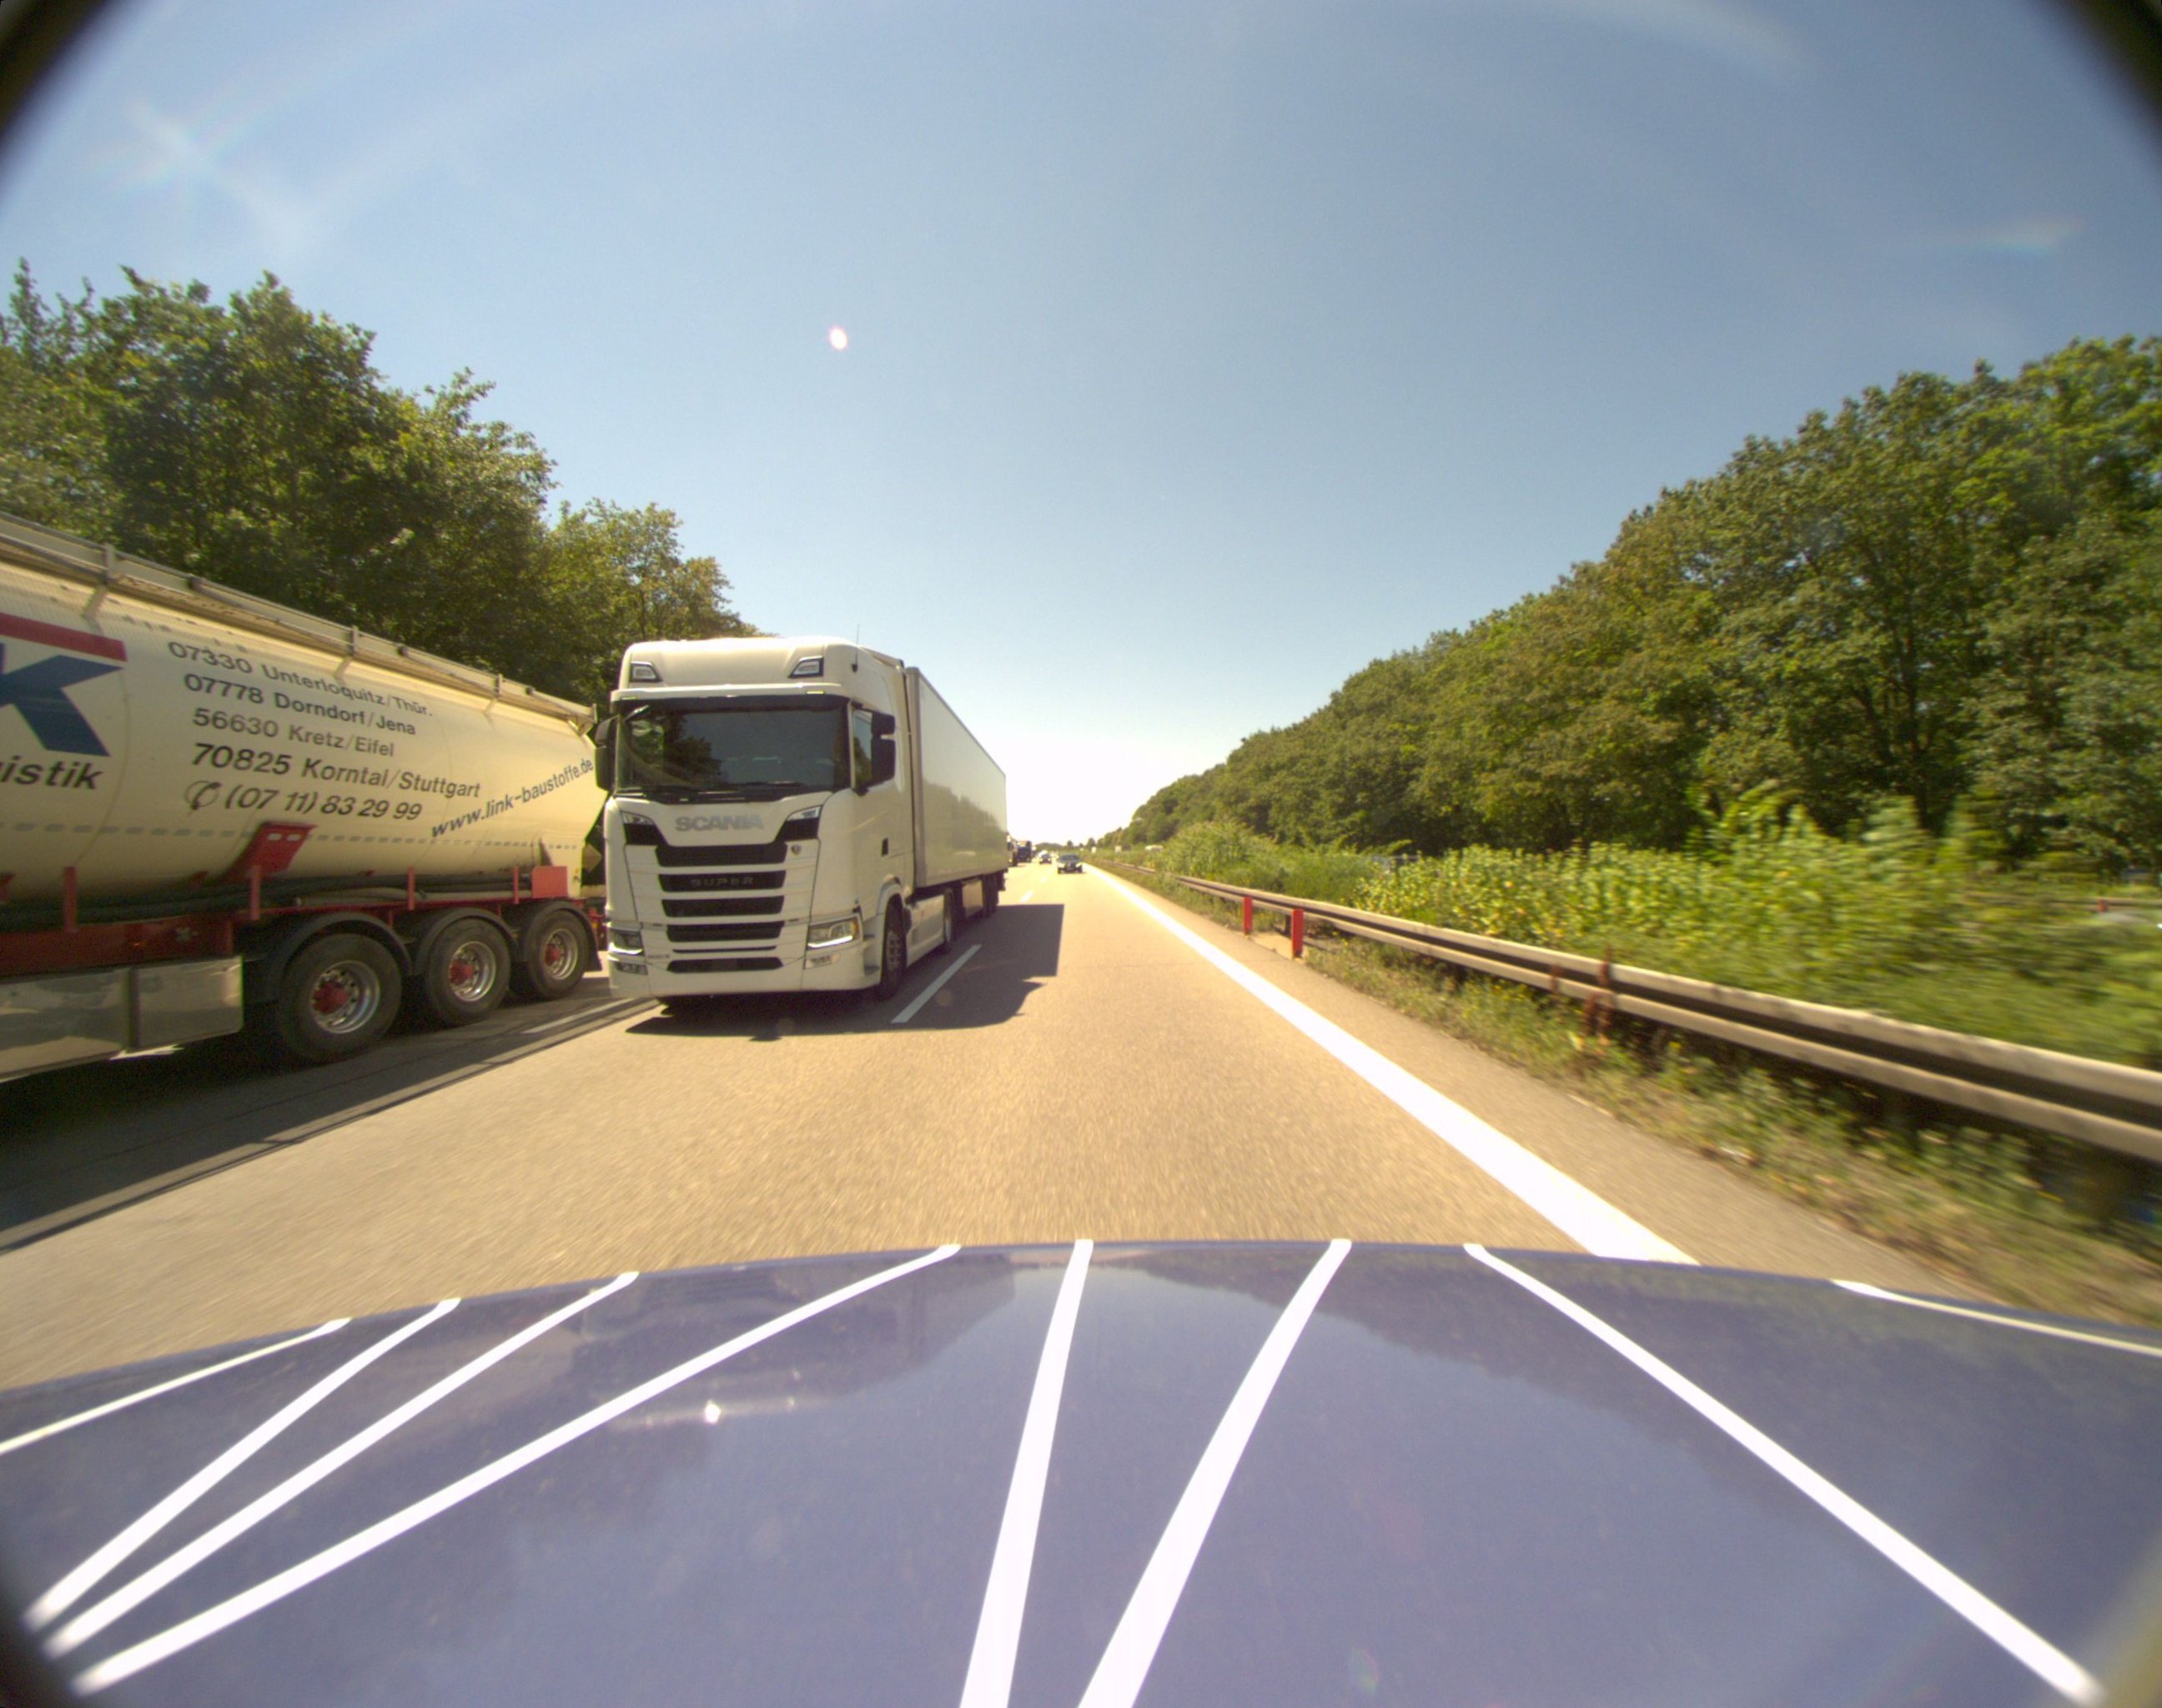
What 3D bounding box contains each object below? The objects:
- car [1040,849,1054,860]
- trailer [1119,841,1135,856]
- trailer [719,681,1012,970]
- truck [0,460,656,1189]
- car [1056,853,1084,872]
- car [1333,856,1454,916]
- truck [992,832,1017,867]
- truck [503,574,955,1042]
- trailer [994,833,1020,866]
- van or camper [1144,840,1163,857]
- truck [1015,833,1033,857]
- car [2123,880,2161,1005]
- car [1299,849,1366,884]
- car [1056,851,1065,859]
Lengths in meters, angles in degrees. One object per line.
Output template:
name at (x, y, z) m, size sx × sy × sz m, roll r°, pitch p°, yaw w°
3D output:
car at (-4.926, 0.060, 109.454) m, size 1.841 × 1.409 × 4.495 m, roll -1°, pitch 0°, yaw -5°
trailer at (12.248, -1.549, 202.228) m, size 2.917 × 3.855 × 13.638 m, roll -1°, pitch 0°, yaw -2°
trailer at (-3.669, -0.435, 17.172) m, size 3.232 × 4.119 × 12.349 m, roll -1°, pitch 0°, yaw -1°
truck at (-7.175, -0.152, 5.151) m, size 2.449 × 4.020 × 10.540 m, roll -2°, pitch 1°, yaw 0°
car at (-0.886, 0.582, 57.299) m, size 1.887 × 1.341 × 4.466 m, roll -1°, pitch 0°, yaw -4°
car at (9.439, 0.898, 23.348) m, size 1.815 × 1.611 × 4.341 m, roll 0°, pitch 1°, yaw -2°
truck at (-9.536, -0.579, 95.237) m, size 2.798 × 4.180 × 4.998 m, roll -1°, pitch 0°, yaw -3°
truck at (-3.511, -0.423, 9.087) m, size 3.237 × 4.133 × 4.558 m, roll -1°, pitch 0°, yaw -1°
trailer at (-9.863, -0.582, 102.574) m, size 2.798 × 4.180 × 12.349 m, roll -1°, pitch 0°, yaw -2°
van or camper at (13.848, -1.114, 145.572) m, size 2.426 × 3.094 × 9.085 m, roll -1°, pitch 0°, yaw -1°
truck at (-10.417, -1.651, 139.310) m, size 2.798 × 4.180 × 10.803 m, roll -1°, pitch 0°, yaw -2°
car at (13.196, 1.026, 6.797) m, size 1.713 × 1.407 × 4.341 m, roll 0°, pitch 1°, yaw -2°
car at (12.482, 0.580, 37.960) m, size 1.815 × 1.611 × 4.341 m, roll 0°, pitch 1°, yaw -2°
car at (-4.918, 0.255, 186.138) m, size 1.999 × 2.002 × 3.998 m, roll -1°, pitch 0°, yaw -4°
